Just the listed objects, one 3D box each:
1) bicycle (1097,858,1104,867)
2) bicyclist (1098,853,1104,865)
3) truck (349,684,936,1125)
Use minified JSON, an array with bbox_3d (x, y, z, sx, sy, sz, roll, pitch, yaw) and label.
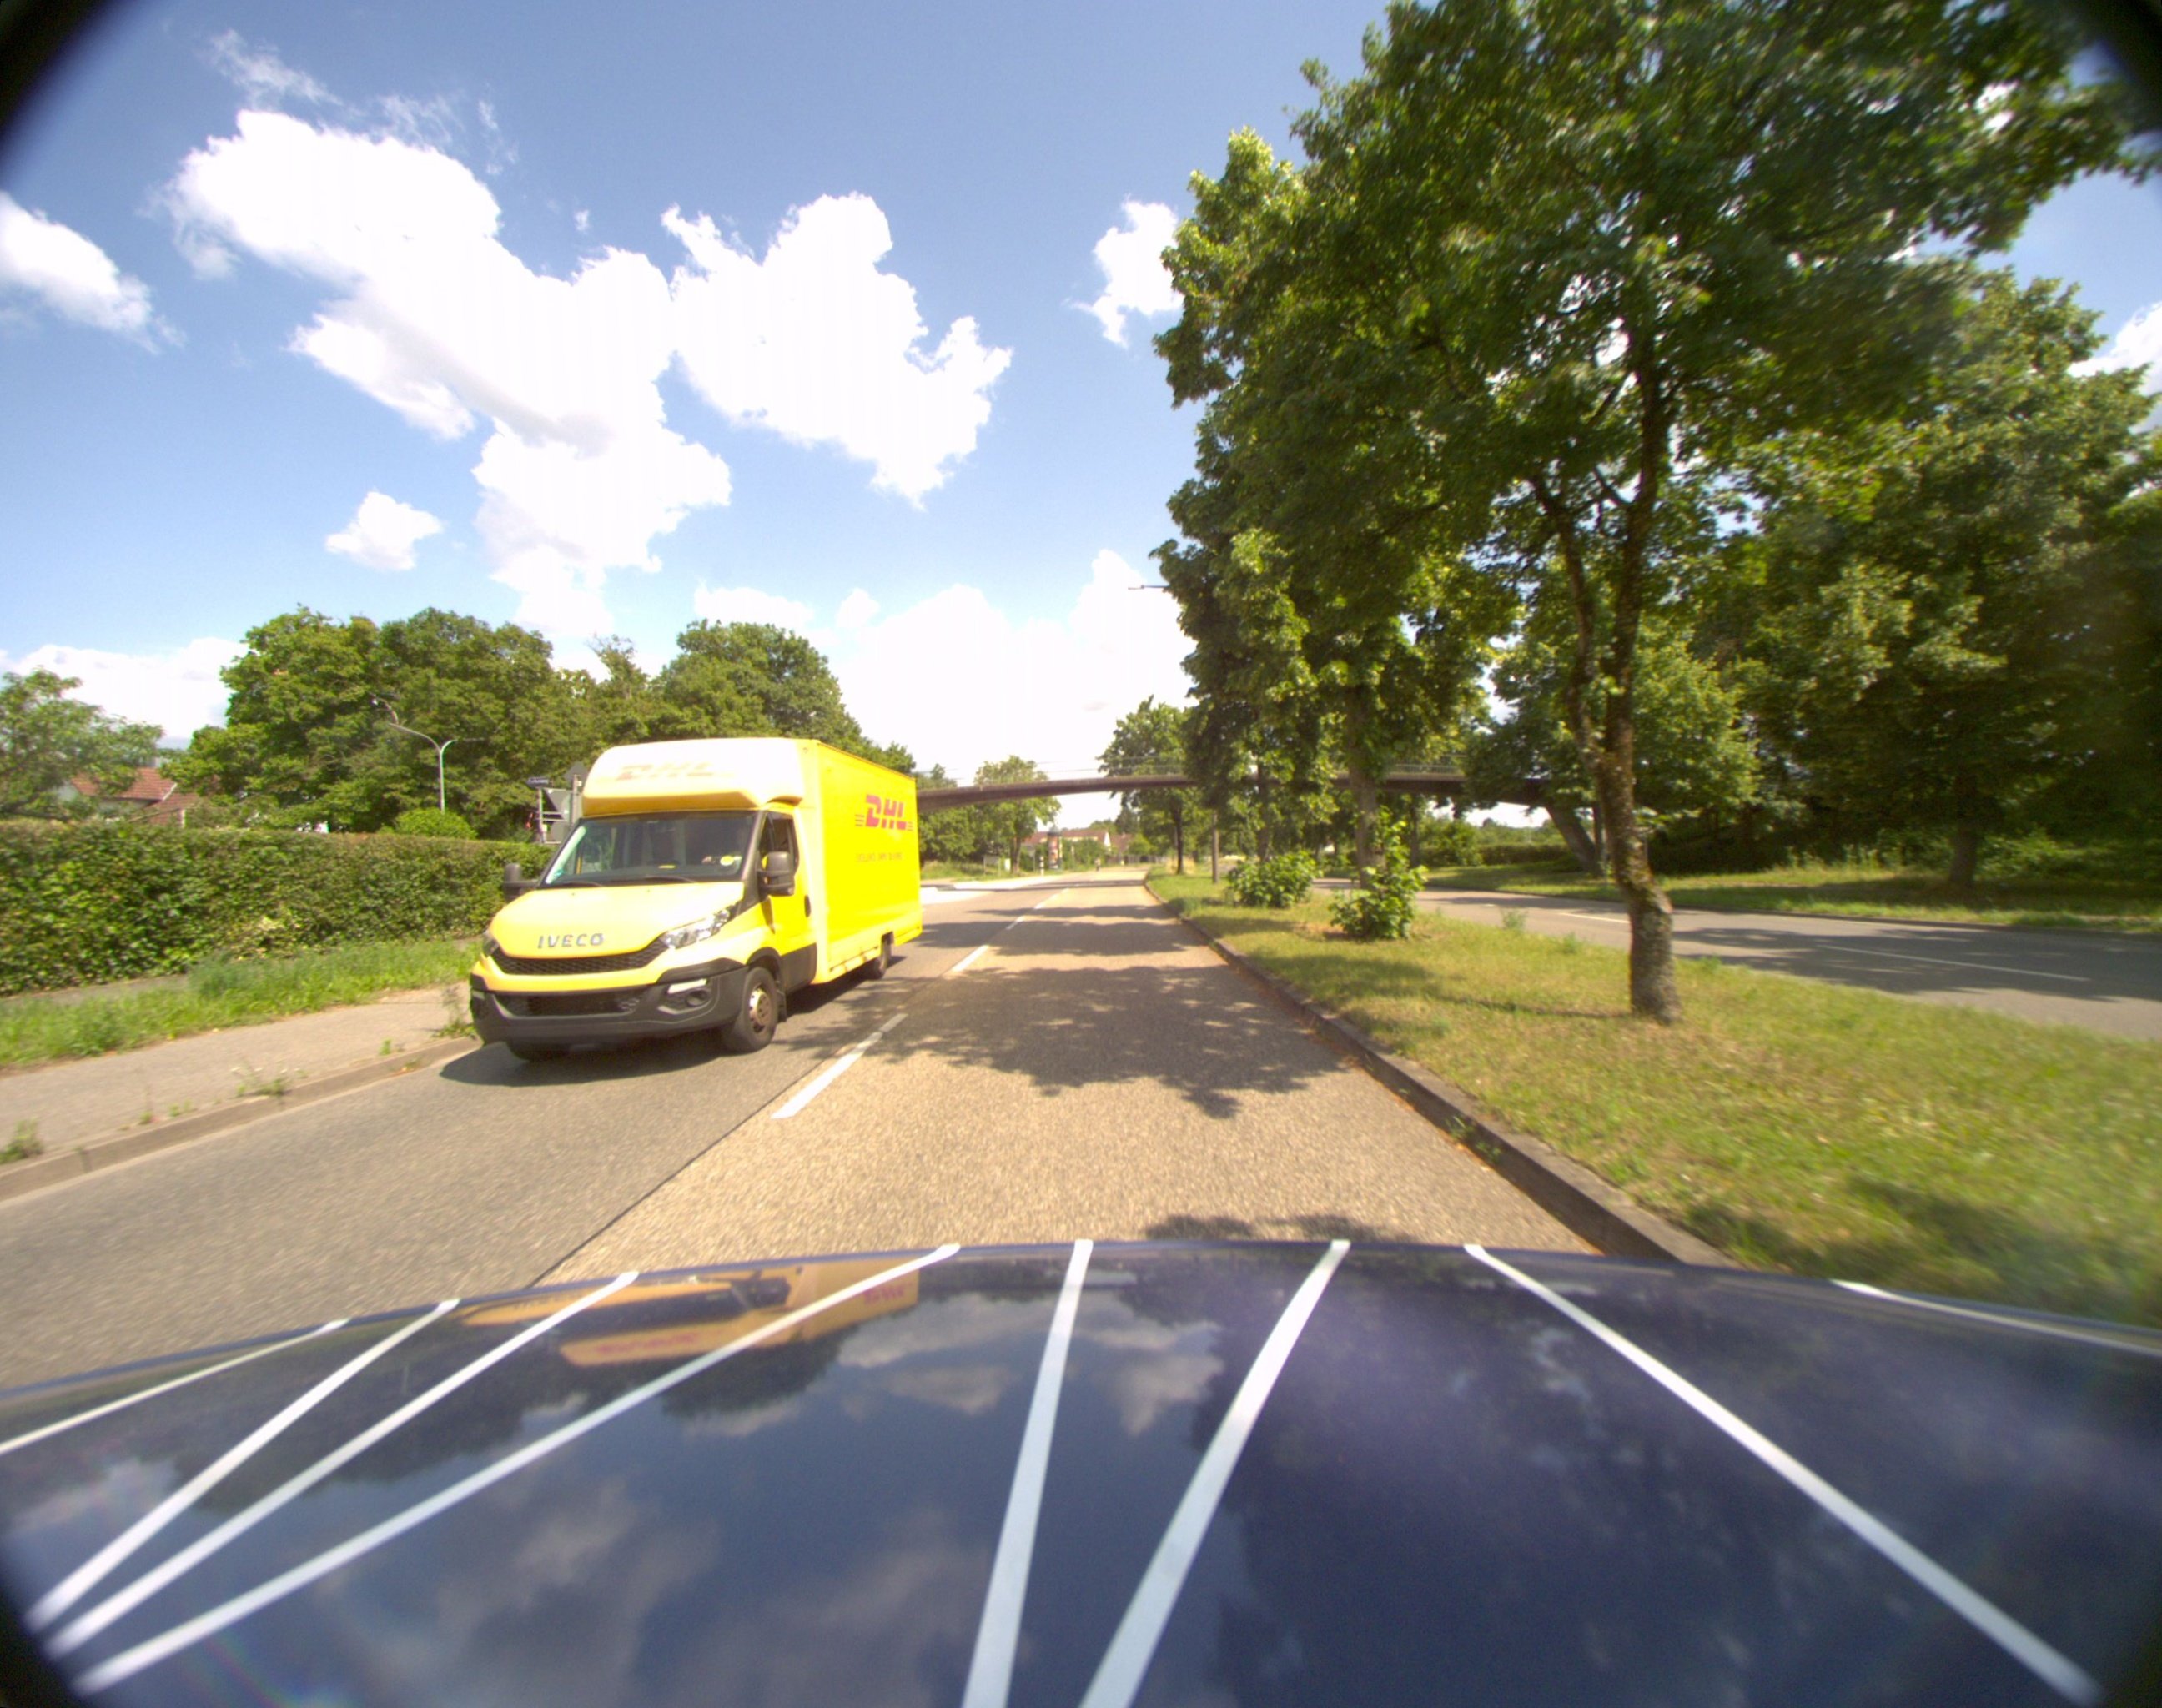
[{"bbox_3d":[2.644,1.149,102.490,0.626,1.145,1.740,-1,0,12],"label":"bicycle"},{"bbox_3d":[2.657,0.658,102.555,0.619,1.625,0.701,-1,0,12],"label":"bicyclist"},{"bbox_3d":[-3.708,0.372,9.122,2.270,2.863,8.028,-3,0,0],"label":"truck"}]
